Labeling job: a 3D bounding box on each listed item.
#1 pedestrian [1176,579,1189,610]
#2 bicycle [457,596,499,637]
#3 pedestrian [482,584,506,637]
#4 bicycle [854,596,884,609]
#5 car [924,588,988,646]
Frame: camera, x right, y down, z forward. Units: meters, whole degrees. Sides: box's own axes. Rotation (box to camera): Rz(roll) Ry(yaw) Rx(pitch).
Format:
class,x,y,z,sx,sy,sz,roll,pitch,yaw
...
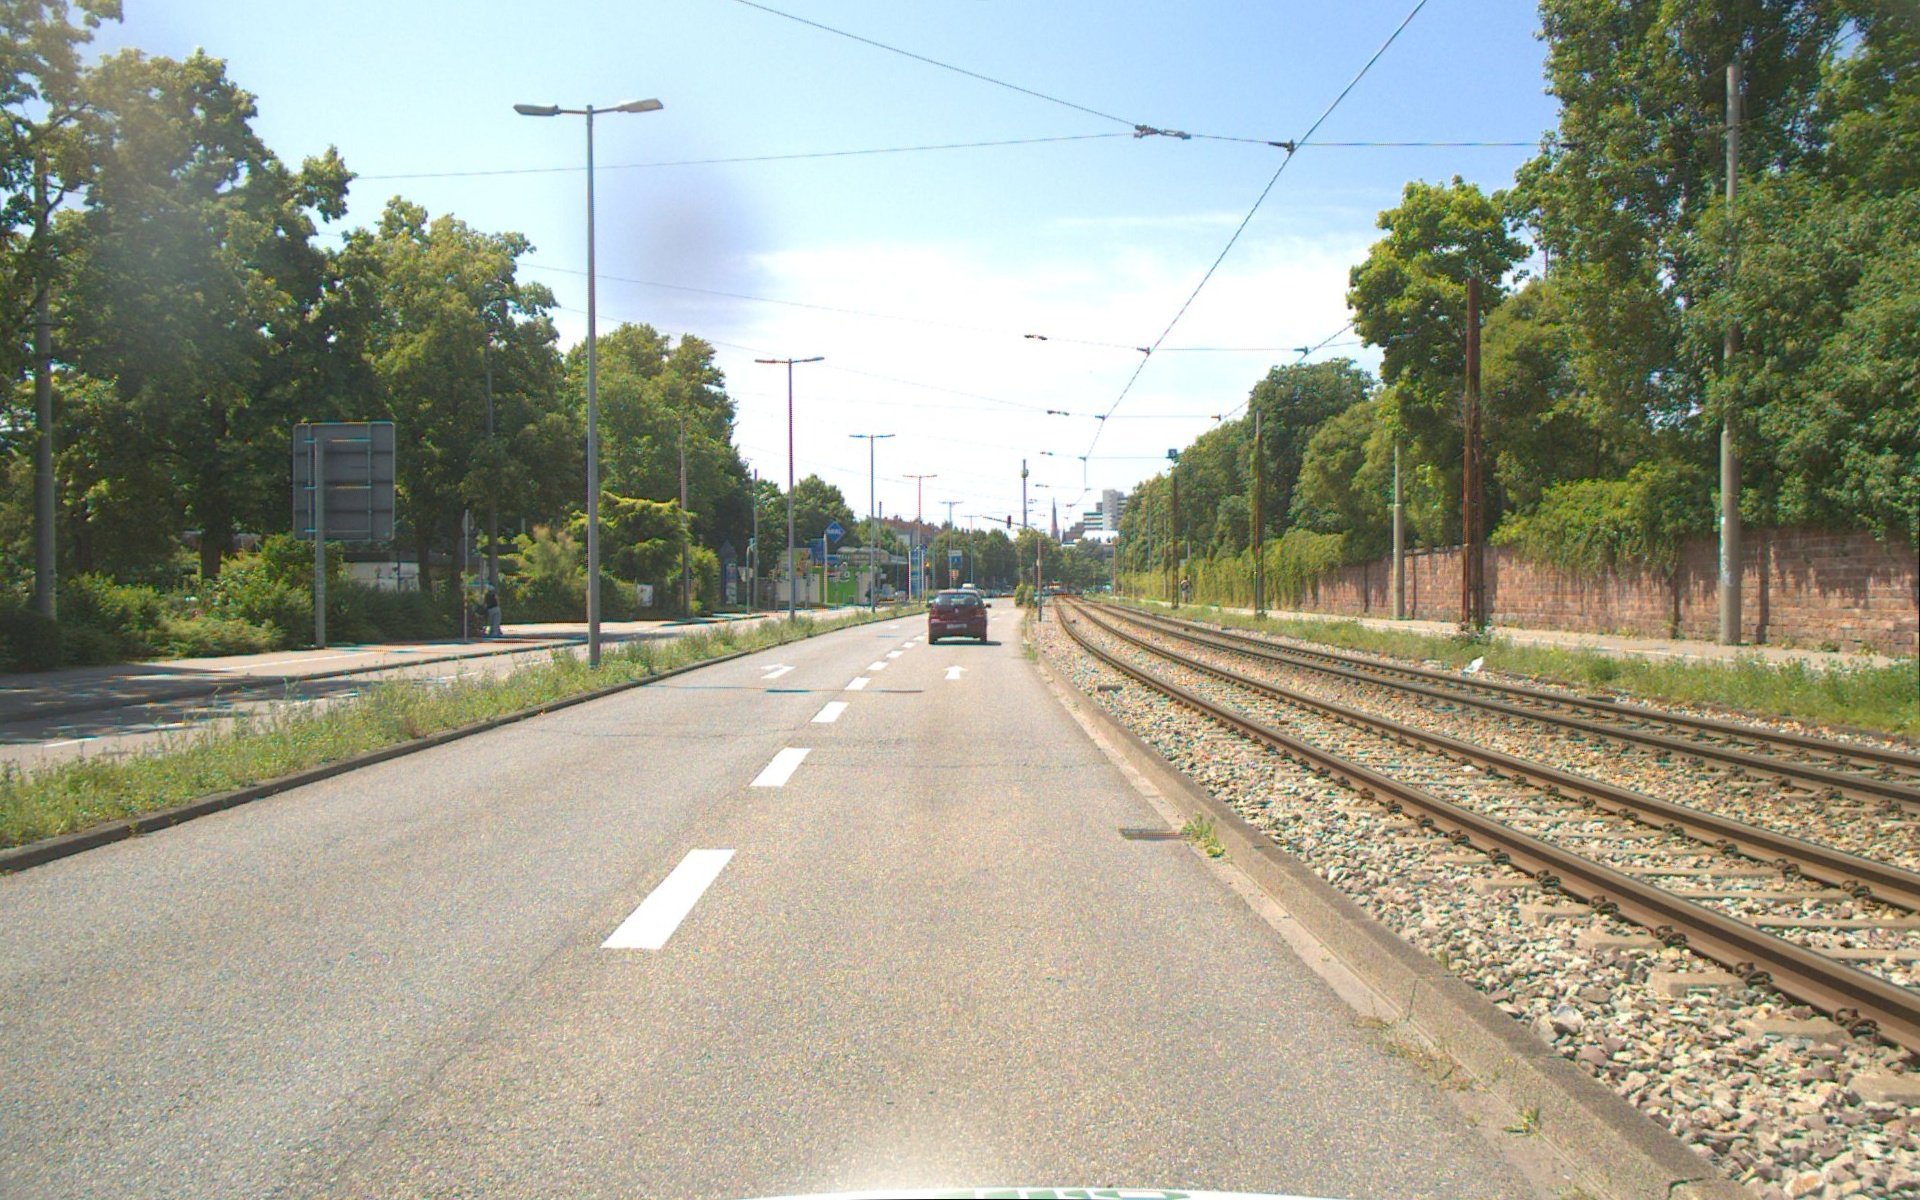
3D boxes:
class,x,y,z,sx,sy,sz,roll,pitch,yaw
pedestrian,12.839,-0.334,95.384,0.648,1.756,0.816,-1,0,2
bicycle,-16.238,0.538,55.704,0.632,1.351,1.574,-1,0,15
pedestrian,-15.656,0.356,55.606,0.537,1.748,0.604,-1,0,15
bicycle,-7.862,0.243,142.760,2.506,1.056,1.084,1,-1,-14
car,-0.086,0.485,45.957,1.668,1.503,3.716,-1,-1,1
